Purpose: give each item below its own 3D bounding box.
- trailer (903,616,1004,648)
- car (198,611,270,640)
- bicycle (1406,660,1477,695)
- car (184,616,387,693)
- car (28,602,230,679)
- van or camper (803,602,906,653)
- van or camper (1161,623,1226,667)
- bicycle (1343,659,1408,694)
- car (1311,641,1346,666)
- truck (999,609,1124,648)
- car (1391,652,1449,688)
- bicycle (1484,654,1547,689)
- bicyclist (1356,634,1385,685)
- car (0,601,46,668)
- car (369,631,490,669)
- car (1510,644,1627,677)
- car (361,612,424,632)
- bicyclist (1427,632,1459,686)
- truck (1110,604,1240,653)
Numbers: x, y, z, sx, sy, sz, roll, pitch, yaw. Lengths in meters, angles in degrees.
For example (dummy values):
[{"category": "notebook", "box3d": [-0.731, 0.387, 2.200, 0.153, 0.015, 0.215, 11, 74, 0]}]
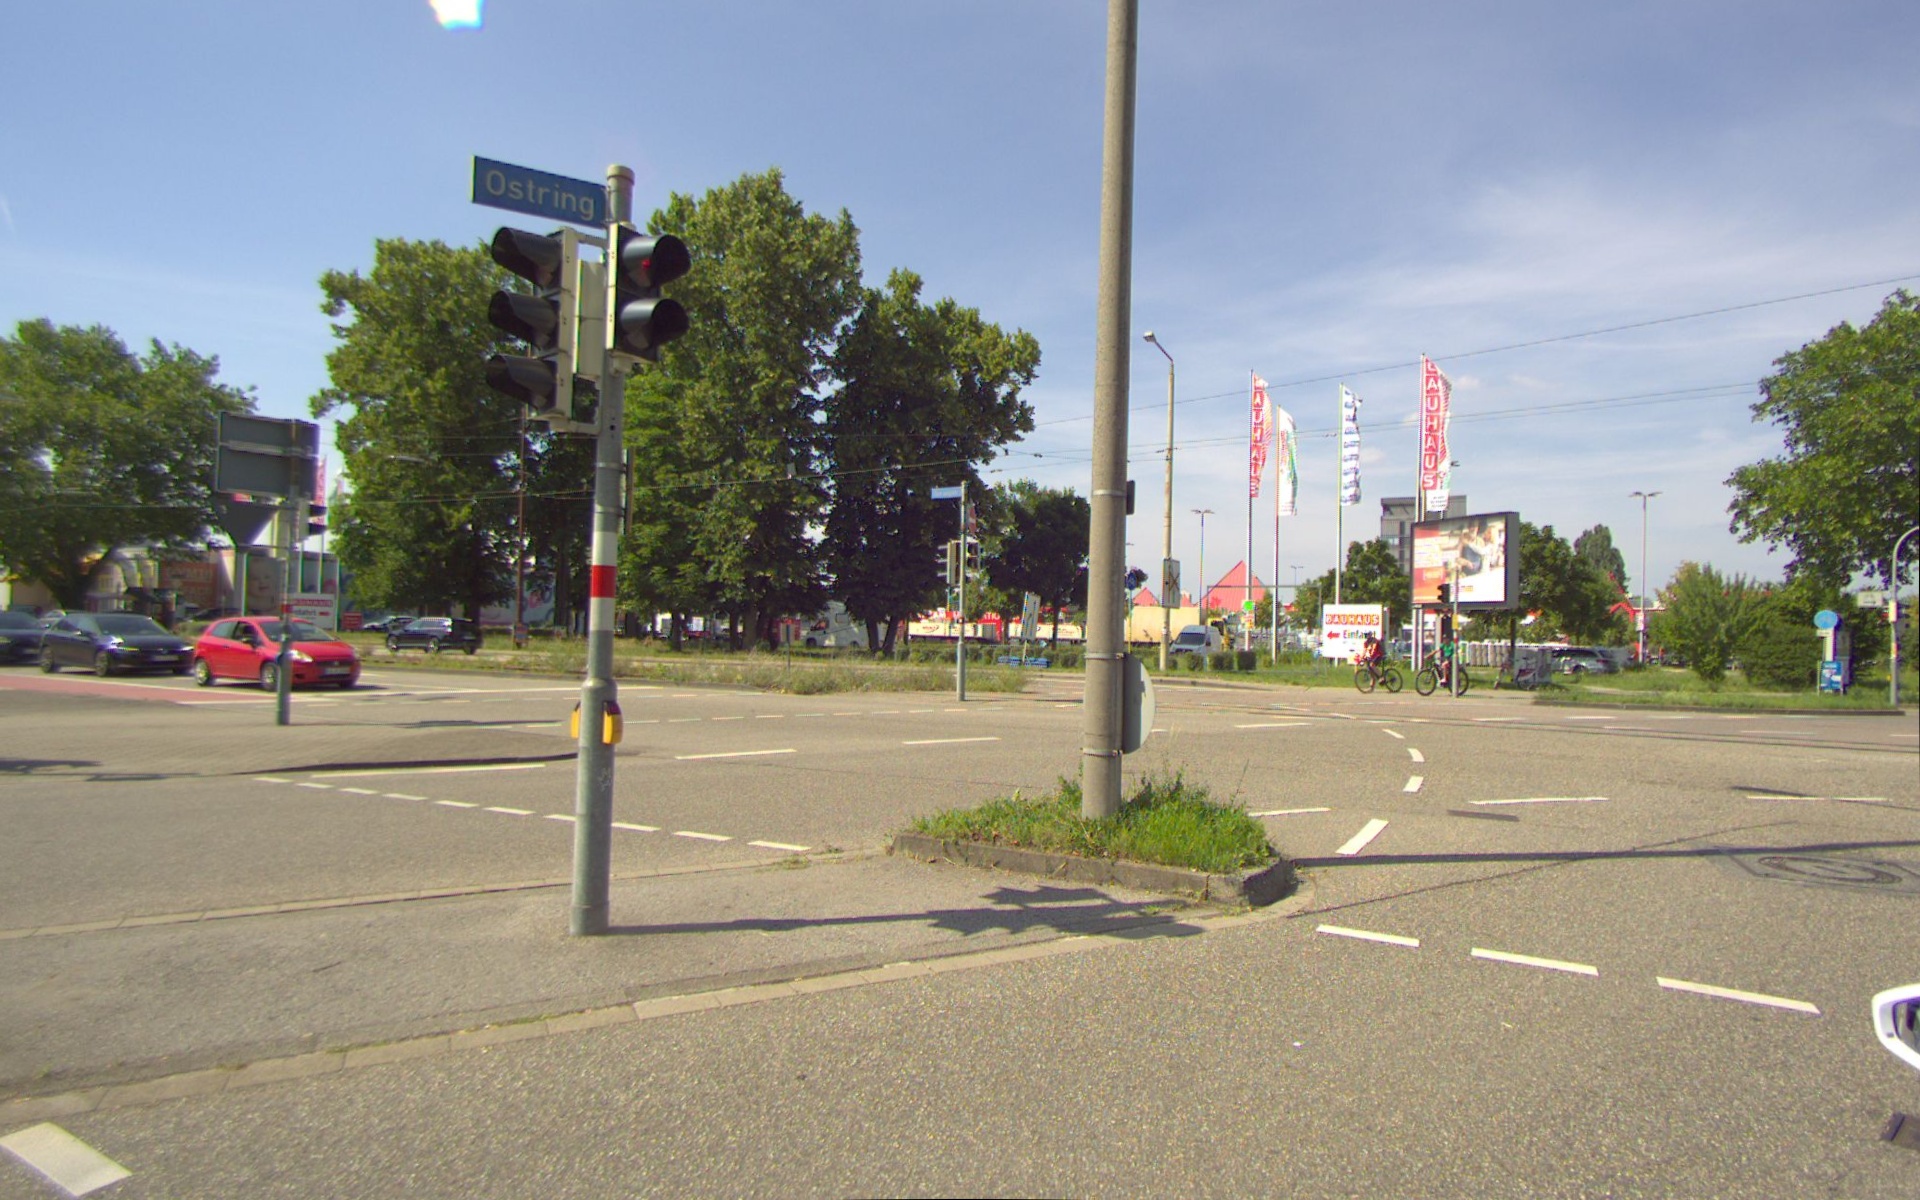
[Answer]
[{"category": "trailer", "box3d": [-0.553, 2.667, 84.363, 8.059, 2.523, 2.923, 0, -2, 28]}, {"category": "car", "box3d": [-53.988, 1.920, 74.742, 1.972, 2.040, 3.978, 0, -2, 43]}, {"category": "bicycle", "box3d": [13.603, 2.185, 28.390, 1.962, 0.950, 0.416, 2, -1, -12]}, {"category": "car", "box3d": [-14.337, 1.107, 21.357, 3.925, 1.468, 1.846, 0, -2, 26]}, {"category": "car", "box3d": [-20.206, 0.968, 24.460, 3.921, 1.721, 2.000, 0, -2, 19]}, {"category": "van or camper", "box3d": [-6.967, 1.762, 66.064, 6.209, 3.141, 2.709, 1, -1, 28]}, {"category": "van or camper", "box3d": [12.821, 2.447, 54.908, 2.156, 2.239, 5.512, 1, -2, 28]}, {"category": "bicycle", "box3d": [11.972, 2.193, 28.952, 1.718, 0.950, 0.435, 2, -1, -7]}, {"category": "car", "box3d": [24.875, 3.574, 67.755, 1.787, 1.593, 4.276, 1, -2, 26]}, {"category": "truck", "box3d": [8.033, 2.241, 79.989, 9.433, 2.930, 2.924, 0, -2, 25]}, {"category": "car", "box3d": [22.882, 3.434, 50.104, 2.157, 1.593, 4.578, 1, -2, 19]}, {"category": "bicycle", "box3d": [17.620, 2.256, 31.872, 1.863, 1.051, 0.594, 2, -1, -14]}, {"category": "bicyclist", "box3d": [11.848, 1.719, 28.994, 0.598, 1.432, 0.529, 1, -1, -6]}, {"category": "car", "box3d": [-26.713, 0.880, 26.670, 3.921, 1.721, 2.000, 0, -2, 20]}, {"category": "car", "box3d": [-21.817, 2.041, 41.355, 4.136, 1.462, 1.791, 1, -1, 10]}, {"category": "car", "box3d": [30.146, 2.983, 49.866, 2.179, 1.432, 4.532, 2, -2, -35]}, {"category": "car", "box3d": [-48.534, 1.915, 86.031, 1.841, 1.585, 4.376, 0, -2, 29]}, {"category": "bicyclist", "box3d": [13.662, 1.659, 28.409, 0.599, 1.511, 0.528, 2, -1, -13]}, {"category": "truck", "box3d": [15.577, 2.024, 72.875, 8.756, 3.355, 3.158, 0, -2, 25]}]
